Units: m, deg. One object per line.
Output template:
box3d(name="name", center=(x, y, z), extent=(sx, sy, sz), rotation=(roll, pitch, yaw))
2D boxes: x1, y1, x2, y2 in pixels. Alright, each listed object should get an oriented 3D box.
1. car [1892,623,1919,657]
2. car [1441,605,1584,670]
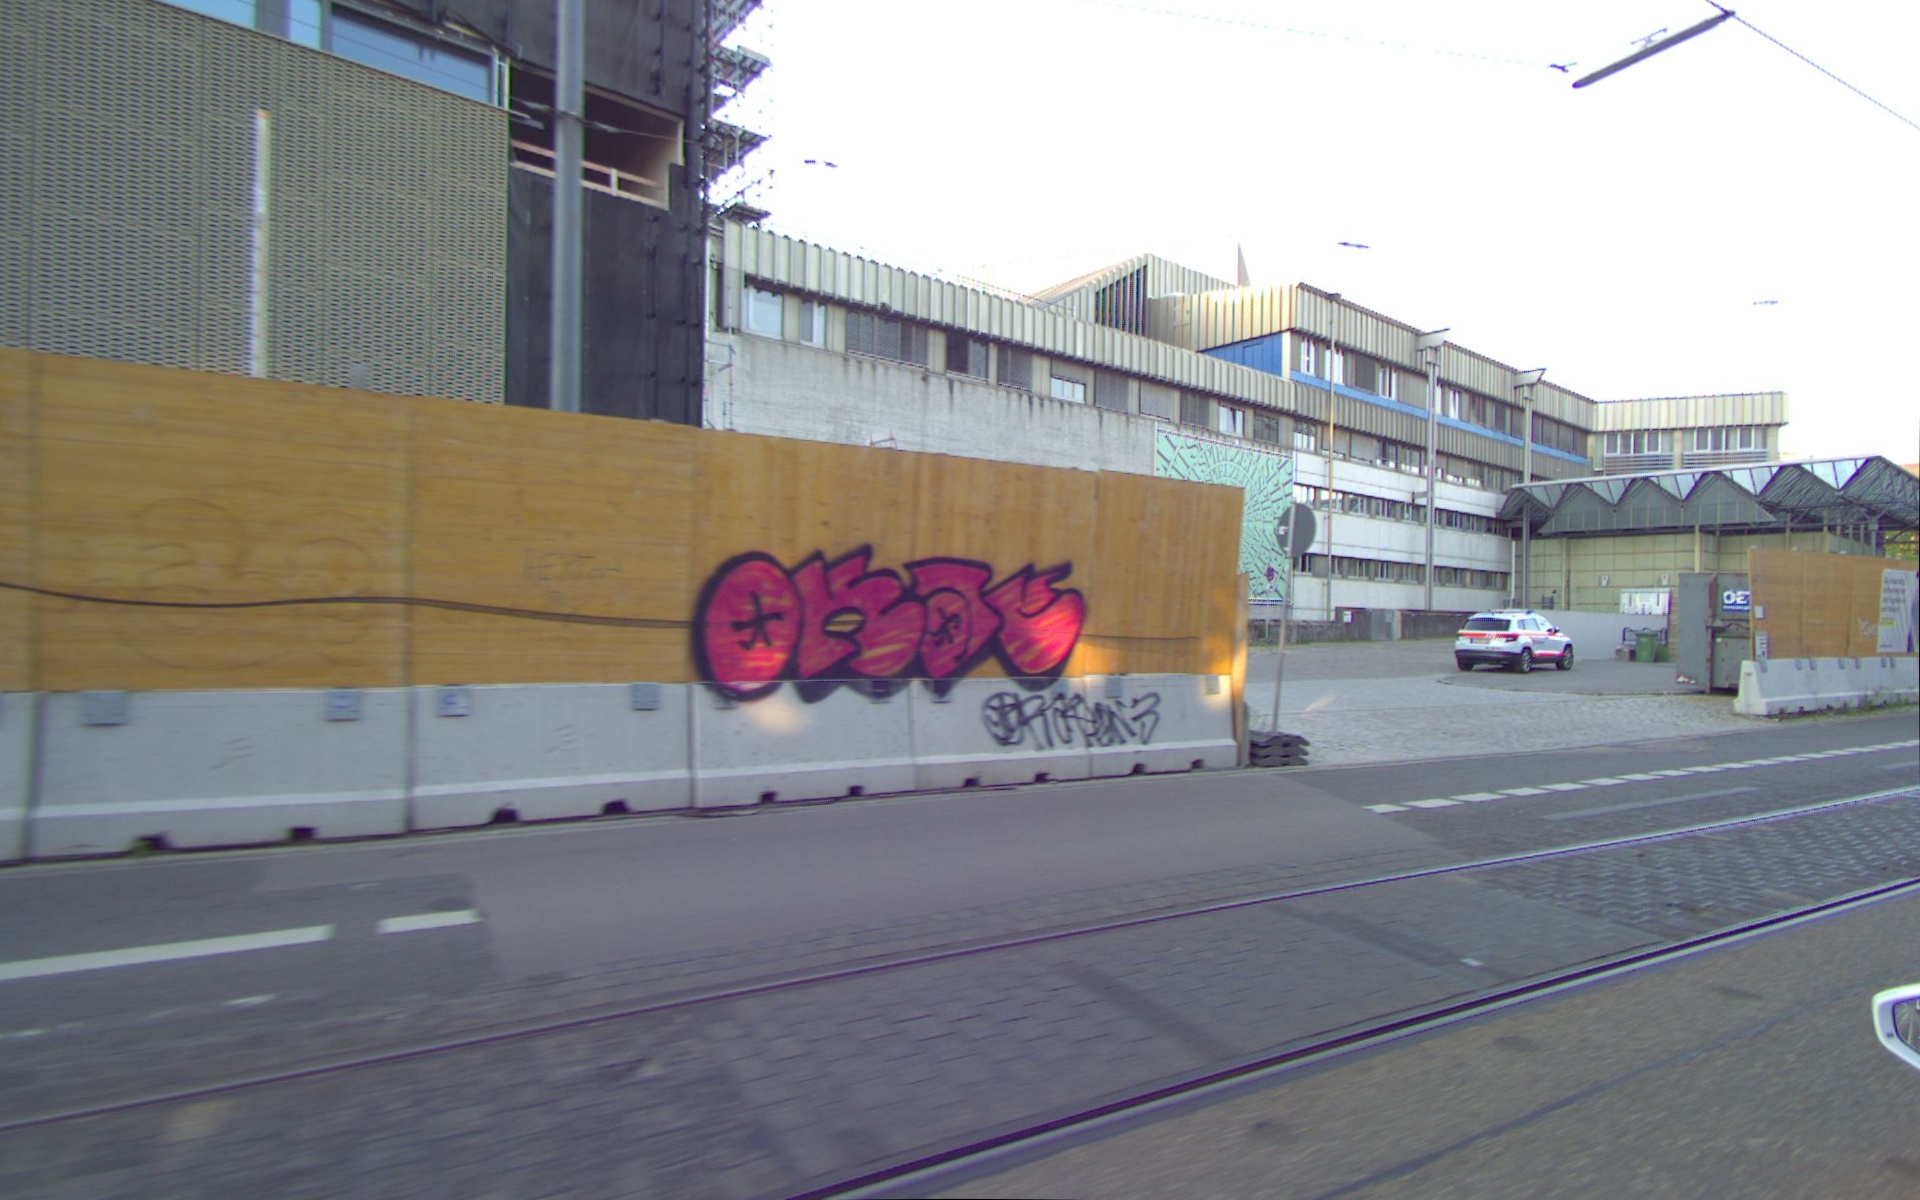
box3d(name="car", center=(42.607, 1.812, 42.738), extent=(1.707, 1.421, 3.995), rotation=(1, 1, -14))
box3d(name="car", center=(15.620, 1.033, 28.320), extent=(4.240, 1.686, 1.979), rotation=(2, 0, -37))
